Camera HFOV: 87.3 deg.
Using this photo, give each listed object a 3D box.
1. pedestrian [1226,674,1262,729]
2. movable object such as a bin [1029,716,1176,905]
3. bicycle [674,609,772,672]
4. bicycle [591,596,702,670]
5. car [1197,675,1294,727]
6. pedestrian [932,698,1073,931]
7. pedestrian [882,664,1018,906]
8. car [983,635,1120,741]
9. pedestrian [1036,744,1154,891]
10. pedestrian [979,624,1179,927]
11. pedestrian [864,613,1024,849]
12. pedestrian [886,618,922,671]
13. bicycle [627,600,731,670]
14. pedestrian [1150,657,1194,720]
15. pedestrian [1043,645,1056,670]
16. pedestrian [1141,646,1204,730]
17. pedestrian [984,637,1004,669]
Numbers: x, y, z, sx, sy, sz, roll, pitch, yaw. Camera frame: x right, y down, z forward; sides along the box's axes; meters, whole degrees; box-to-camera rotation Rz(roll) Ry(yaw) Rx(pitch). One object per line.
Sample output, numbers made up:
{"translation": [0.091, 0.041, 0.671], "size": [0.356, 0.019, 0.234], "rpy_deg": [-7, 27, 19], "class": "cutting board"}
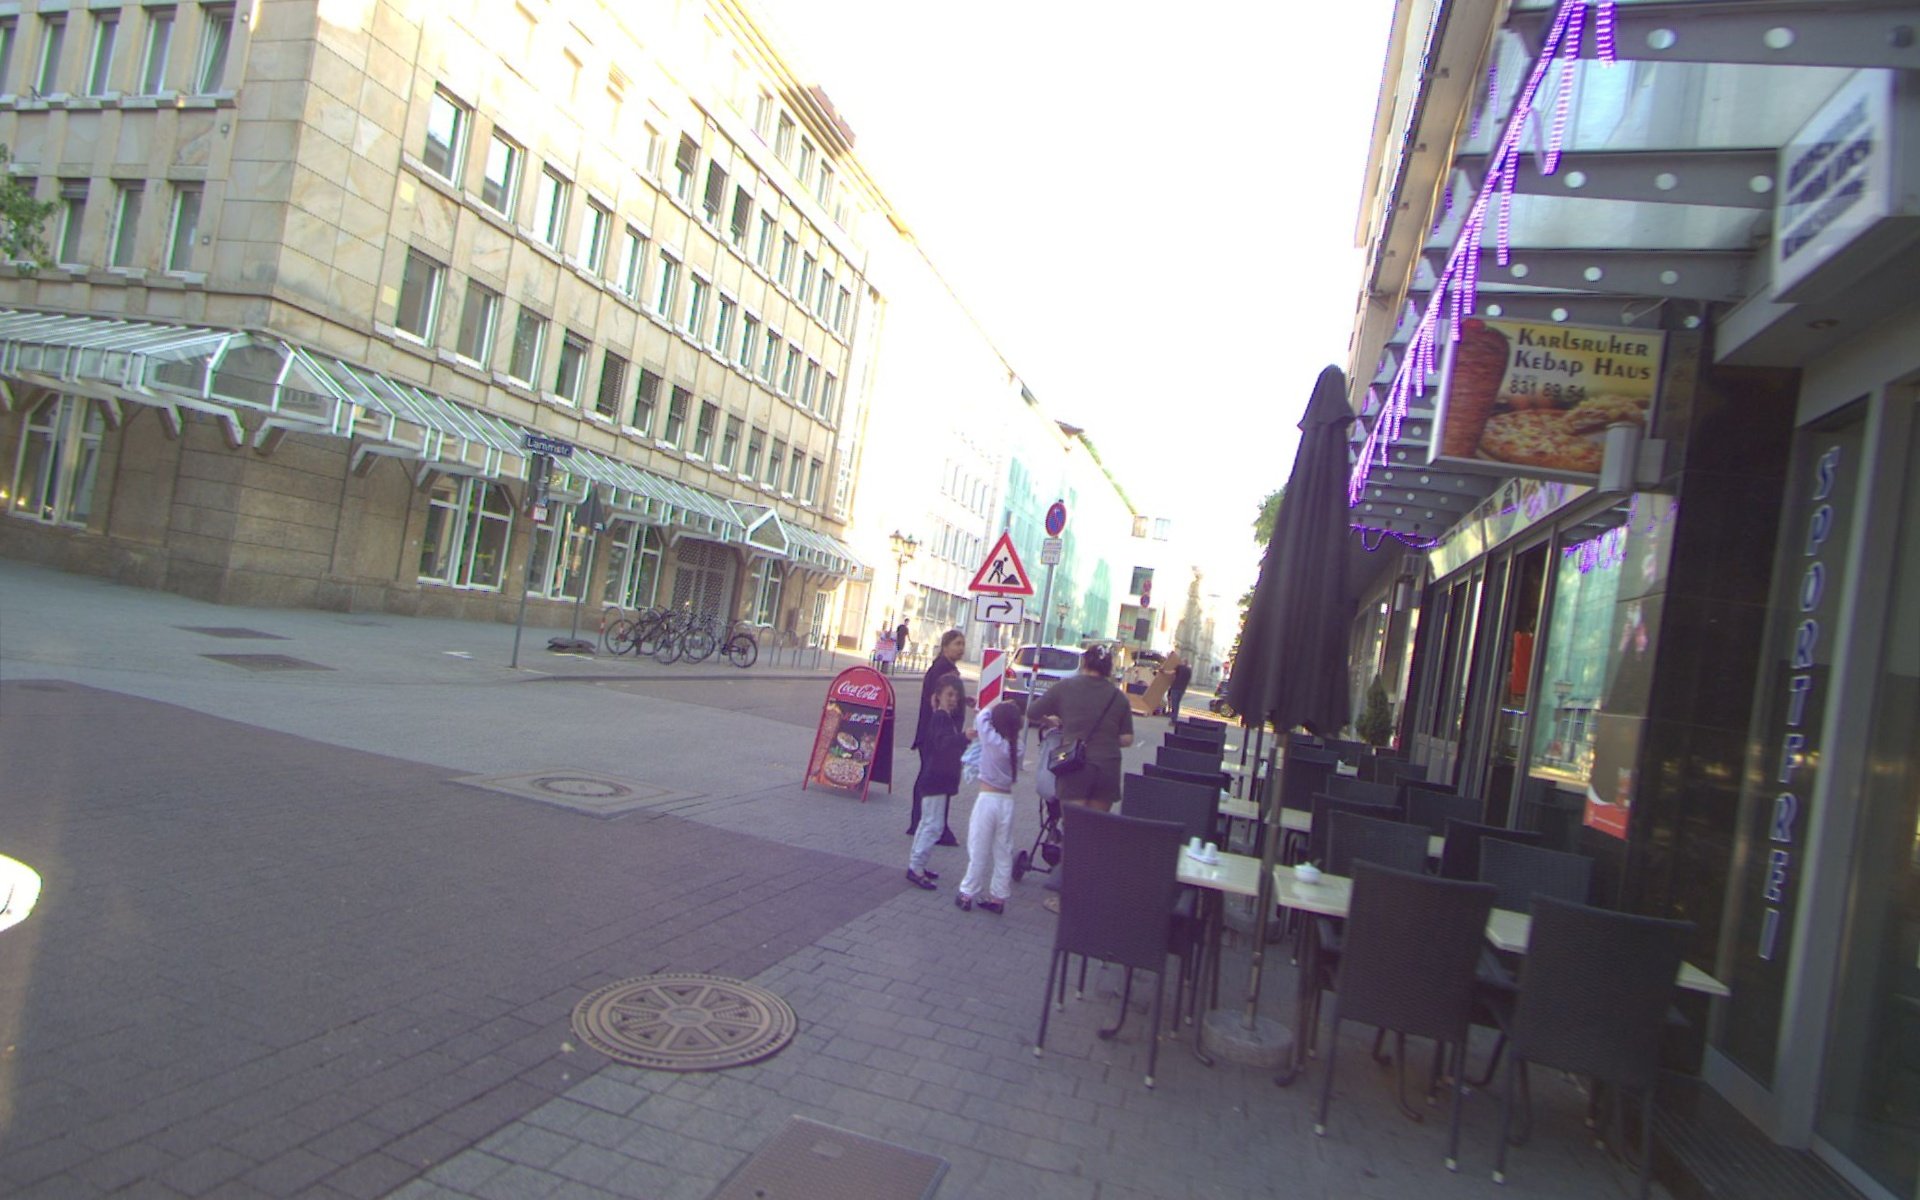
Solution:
{"translation": [9.730, 3.464, 34.456], "size": [0.925, 1.724, 0.892], "rpy_deg": [8, -1, 20], "class": "pedestrian"}
{"translation": [0.946, 1.330, 6.569], "size": [0.578, 1.049, 0.799], "rpy_deg": [8, -1, 28], "class": "movable object such as a bin"}
{"translation": [-5.107, 0.864, 21.646], "size": [1.912, 1.040, 0.514], "rpy_deg": [9, 0, 16], "class": "bicycle"}
{"translation": [-5.951, 0.630, 19.107], "size": [1.913, 1.063, 0.544], "rpy_deg": [10, 0, 18], "class": "bicycle"}
{"translation": [12.926, 4.535, 45.447], "size": [3.901, 1.635, 1.853], "rpy_deg": [8, -1, 21], "class": "car"}
{"translation": [0.227, 1.149, 5.473], "size": [0.407, 1.137, 0.468], "rpy_deg": [9, -1, -35], "class": "pedestrian"}
{"translation": [-0.079, 1.063, 5.952], "size": [0.506, 1.261, 0.664], "rpy_deg": [9, -1, -12], "class": "pedestrian"}
{"translation": [1.923, 1.698, 19.852], "size": [1.771, 1.607, 3.945], "rpy_deg": [9, -2, 16], "class": "car"}
{"translation": [0.890, 1.395, 6.575], "size": [0.503, 0.801, 0.549], "rpy_deg": [8, -1, 28], "class": "pedestrian"}
{"translation": [0.711, 0.989, 5.914], "size": [0.780, 1.553, 0.620], "rpy_deg": [8, -1, 28], "class": "pedestrian"}
{"translation": [-0.126, 0.930, 7.319], "size": [0.709, 1.548, 0.719], "rpy_deg": [9, -1, -27], "class": "pedestrian"}
{"translation": [-1.991, 1.584, 35.849], "size": [0.758, 1.751, 0.916], "rpy_deg": [8, -1, 17], "class": "pedestrian"}
{"translation": [-5.683, 0.702, 20.314], "size": [1.913, 1.063, 0.544], "rpy_deg": [10, 0, 20], "class": "bicycle"}
{"translation": [6.441, 2.673, 30.608], "size": [0.925, 1.724, 0.891], "rpy_deg": [9, -1, -1], "class": "pedestrian"}
{"translation": [4.780, 3.065, 53.610], "size": [0.441, 1.268, 0.471], "rpy_deg": [8, -1, 17], "class": "pedestrian"}
{"translation": [5.457, 2.245, 25.911], "size": [1.199, 1.960, 0.891], "rpy_deg": [9, -1, 1], "class": "pedestrian"}
{"translation": [1.809, 2.818, 53.407], "size": [0.649, 1.591, 0.730], "rpy_deg": [8, -1, 17], "class": "pedestrian"}
